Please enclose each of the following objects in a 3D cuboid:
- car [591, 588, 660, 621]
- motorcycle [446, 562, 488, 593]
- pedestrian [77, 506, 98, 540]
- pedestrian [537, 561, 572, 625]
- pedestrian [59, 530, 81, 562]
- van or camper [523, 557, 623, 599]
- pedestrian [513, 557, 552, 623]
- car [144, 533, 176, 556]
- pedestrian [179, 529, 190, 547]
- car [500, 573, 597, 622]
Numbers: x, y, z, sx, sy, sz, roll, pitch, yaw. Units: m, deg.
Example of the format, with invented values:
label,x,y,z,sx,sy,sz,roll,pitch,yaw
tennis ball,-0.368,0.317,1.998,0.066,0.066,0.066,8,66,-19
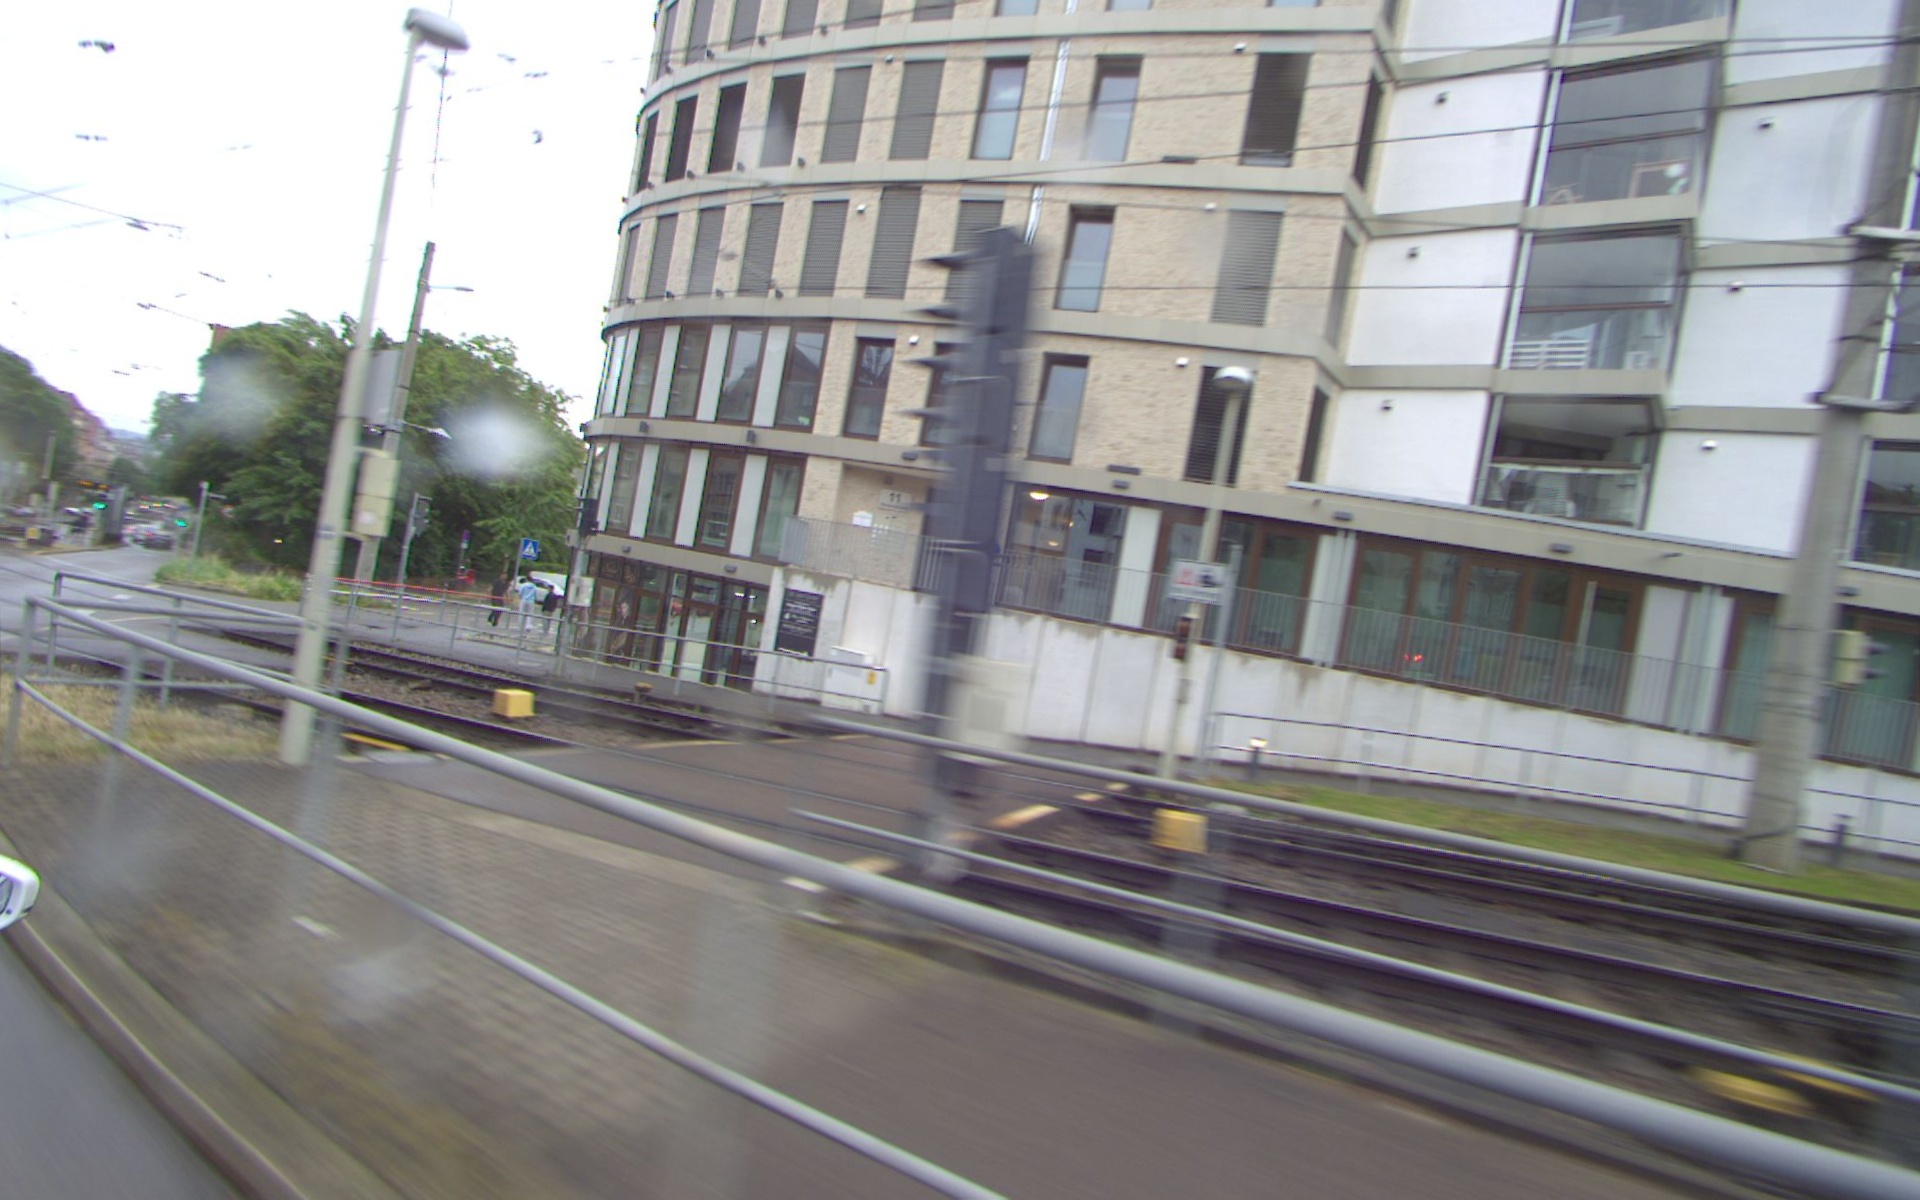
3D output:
label,x,y,z,sx,sy,sz,roll,pitch,yaw
car,-22.341,0.315,67.272,3.831,1.704,1.739,6,-1,3
motorcycle,-27.284,-1.207,55.717,0.811,1.389,2.432,12,-3,1
pedestrian,-49.186,-4.345,56.734,0.647,1.804,0.839,8,-2,-38
pedestrian,-13.503,-0.243,33.512,0.589,2.038,0.881,7,0,-42
pedestrian,-47.086,-2.836,53.231,0.647,1.580,0.677,8,-2,-38
van or camper,-23.060,-1.301,60.073,5.082,1.856,2.002,6,-1,6
pedestrian,-14.028,-0.317,33.019,0.879,2.038,0.655,7,0,39
car,-65.148,-4.561,81.909,1.845,1.490,3.956,9,-2,-39
pedestrian,-78.752,-6.266,102.126,0.692,1.714,0.550,9,-2,-37
car,-23.384,-0.127,57.312,4.426,2.036,2.002,8,-2,1
